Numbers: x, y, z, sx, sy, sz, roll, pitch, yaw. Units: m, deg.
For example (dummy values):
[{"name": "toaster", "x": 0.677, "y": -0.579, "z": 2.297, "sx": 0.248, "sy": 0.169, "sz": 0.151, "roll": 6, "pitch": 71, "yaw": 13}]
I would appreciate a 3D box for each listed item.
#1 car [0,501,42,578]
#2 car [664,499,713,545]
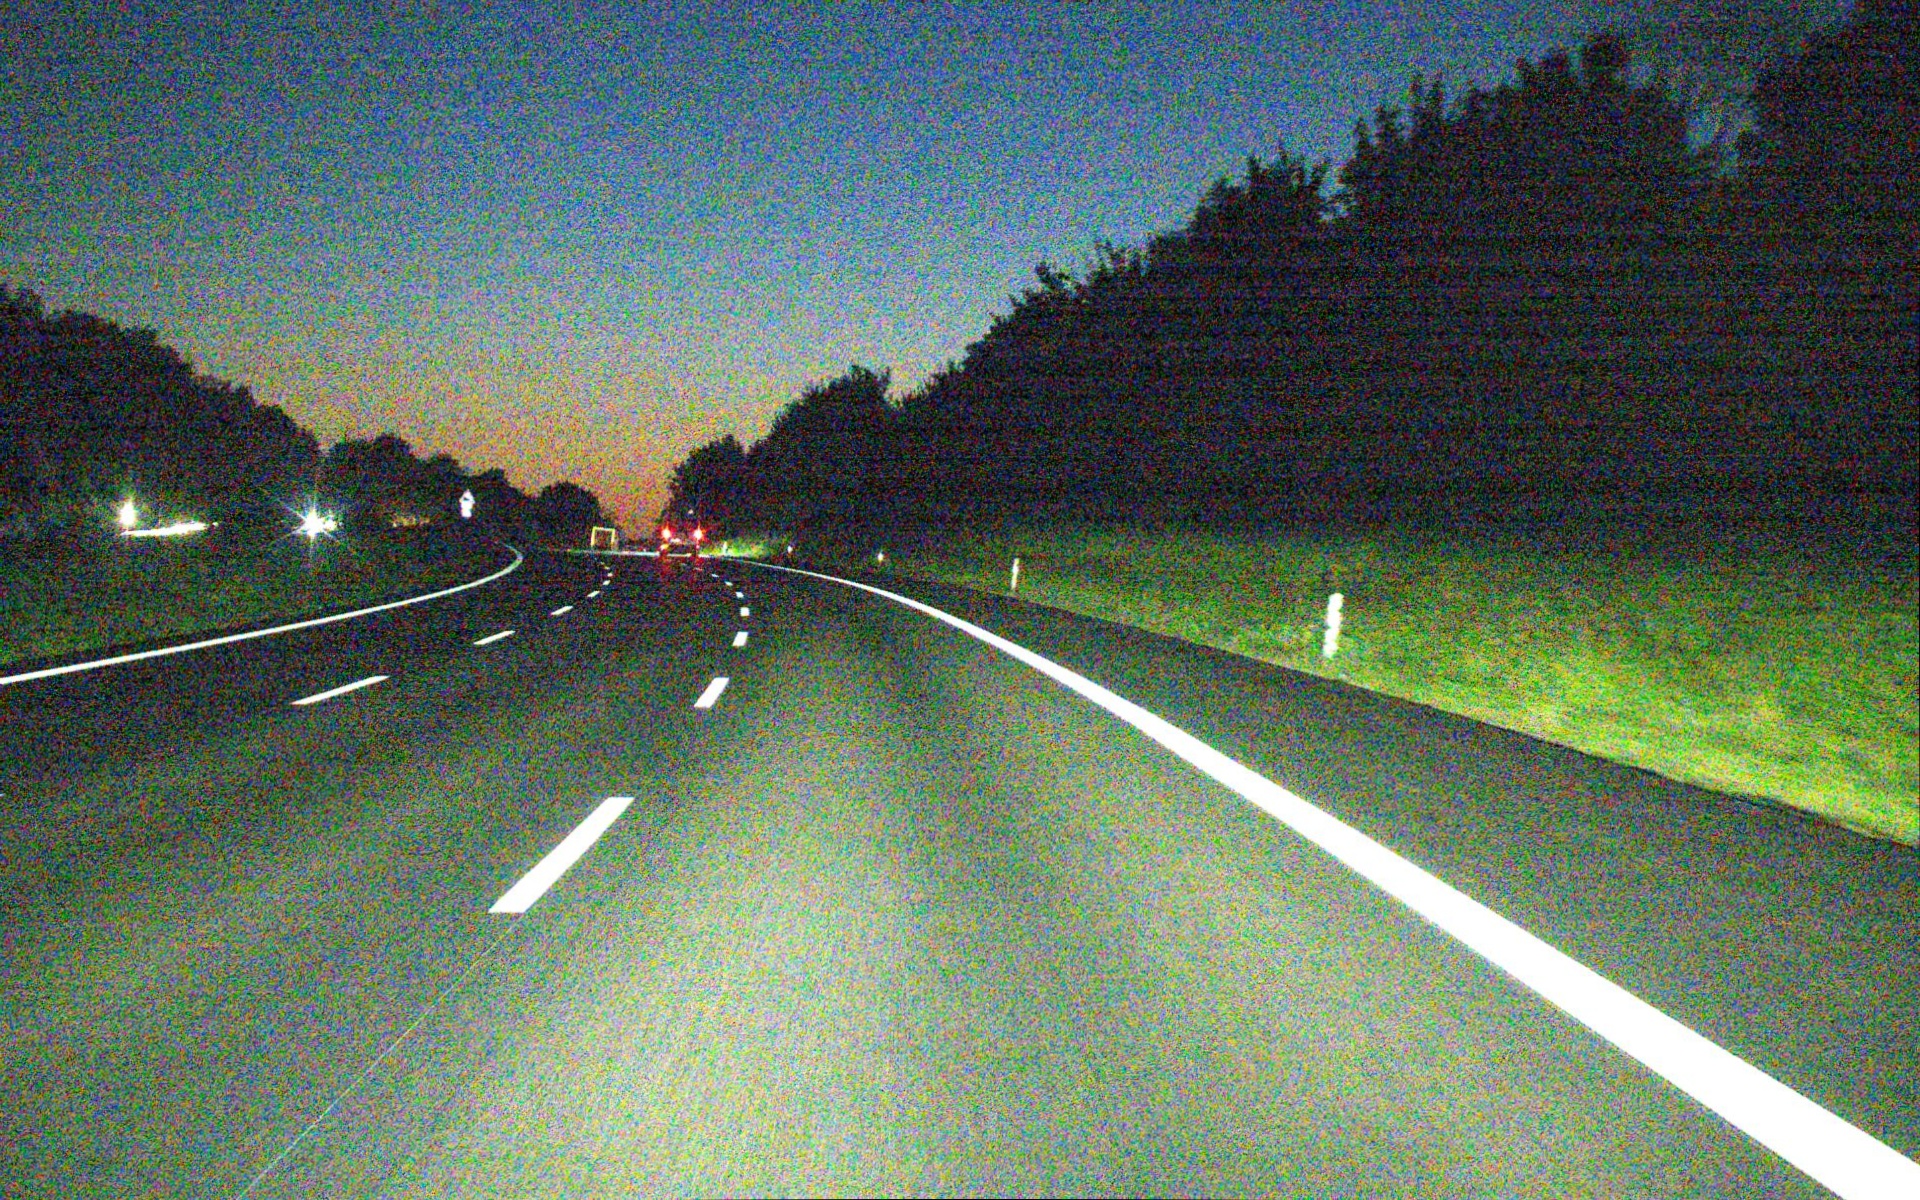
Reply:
[{"name": "car", "x": -24.004, "y": -1.504, "z": 84.512, "sx": 1.993, "sy": 1.848, "sz": 4.077, "roll": 0, "pitch": 1, "yaw": -4}, {"name": "car", "x": -15.728, "y": -4.495, "z": 198.544, "sx": 2.527, "sy": 2.544, "sz": 6.052, "roll": 2, "pitch": 1, "yaw": -6}]
